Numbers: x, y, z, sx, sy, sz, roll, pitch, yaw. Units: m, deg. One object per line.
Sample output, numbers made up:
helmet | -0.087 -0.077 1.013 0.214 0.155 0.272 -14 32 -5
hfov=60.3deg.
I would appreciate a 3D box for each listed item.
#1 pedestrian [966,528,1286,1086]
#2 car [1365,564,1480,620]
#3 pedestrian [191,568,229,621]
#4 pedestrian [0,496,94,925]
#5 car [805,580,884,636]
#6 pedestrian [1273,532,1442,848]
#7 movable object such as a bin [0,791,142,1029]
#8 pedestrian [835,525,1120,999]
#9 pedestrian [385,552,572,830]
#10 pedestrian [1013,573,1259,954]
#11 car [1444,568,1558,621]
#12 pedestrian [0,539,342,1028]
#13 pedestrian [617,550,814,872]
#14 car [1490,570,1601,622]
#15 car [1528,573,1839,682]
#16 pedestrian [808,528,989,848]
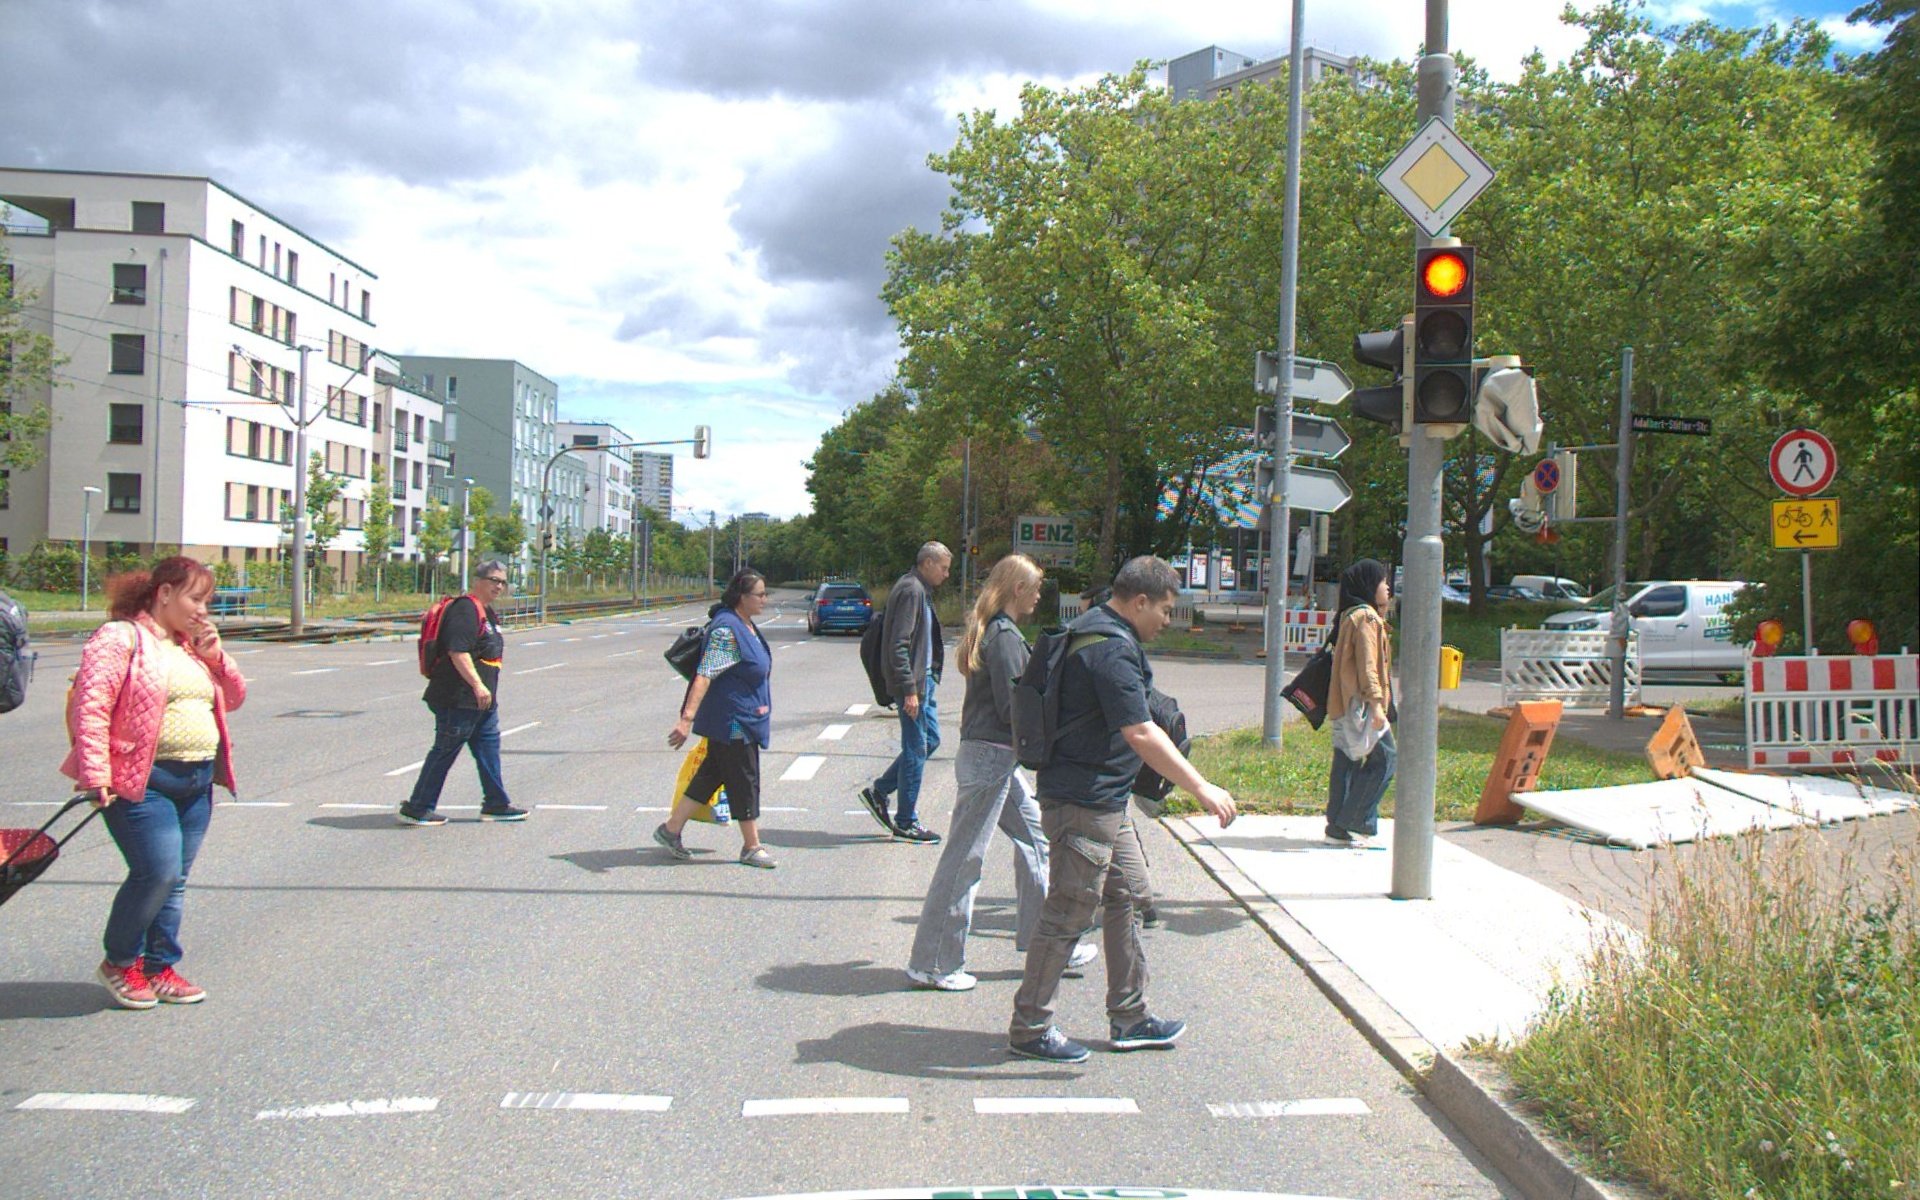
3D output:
pedestrian | 0.503 0.623 5.435 0.939 1.677 0.880 1 0 -1
car | 17.520 -0.315 62.827 1.974 2.049 3.957 0 1 -32
pedestrian | -22.122 -0.151 48.783 0.814 1.542 0.636 1 0 -1
pedestrian | -4.551 0.452 7.340 0.991 1.805 0.946 1 0 -10
car | -3.378 0.200 47.637 1.945 1.512 4.482 1 1 -8
pedestrian | 2.320 0.506 9.739 0.766 1.773 0.828 1 0 -1
movable object such as a bin | -3.434 1.051 5.757 0.779 0.673 0.778 1 0 -1
pedestrian | 0.075 0.573 6.373 0.999 1.677 0.929 1 0 1
pedestrian | -2.938 0.533 10.175 0.874 1.624 0.908 1 0 -1
pedestrian | 0.751 0.679 7.323 0.927 1.579 0.842 1 0 -5
car | 21.365 -0.236 65.462 1.974 2.049 3.957 0 1 -32
pedestrian | -2.726 0.593 5.742 0.863 1.582 0.746 1 0 -1
pedestrian | -1.290 0.562 8.923 0.894 1.635 0.929 1 0 1
car | 23.932 -0.184 67.698 1.974 2.049 3.957 0 1 -32
car | 13.426 0.498 30.861 4.976 1.906 1.947 1 0 -5
pedestrian | -0.343 0.495 9.858 0.981 1.804 0.929 1 0 2
